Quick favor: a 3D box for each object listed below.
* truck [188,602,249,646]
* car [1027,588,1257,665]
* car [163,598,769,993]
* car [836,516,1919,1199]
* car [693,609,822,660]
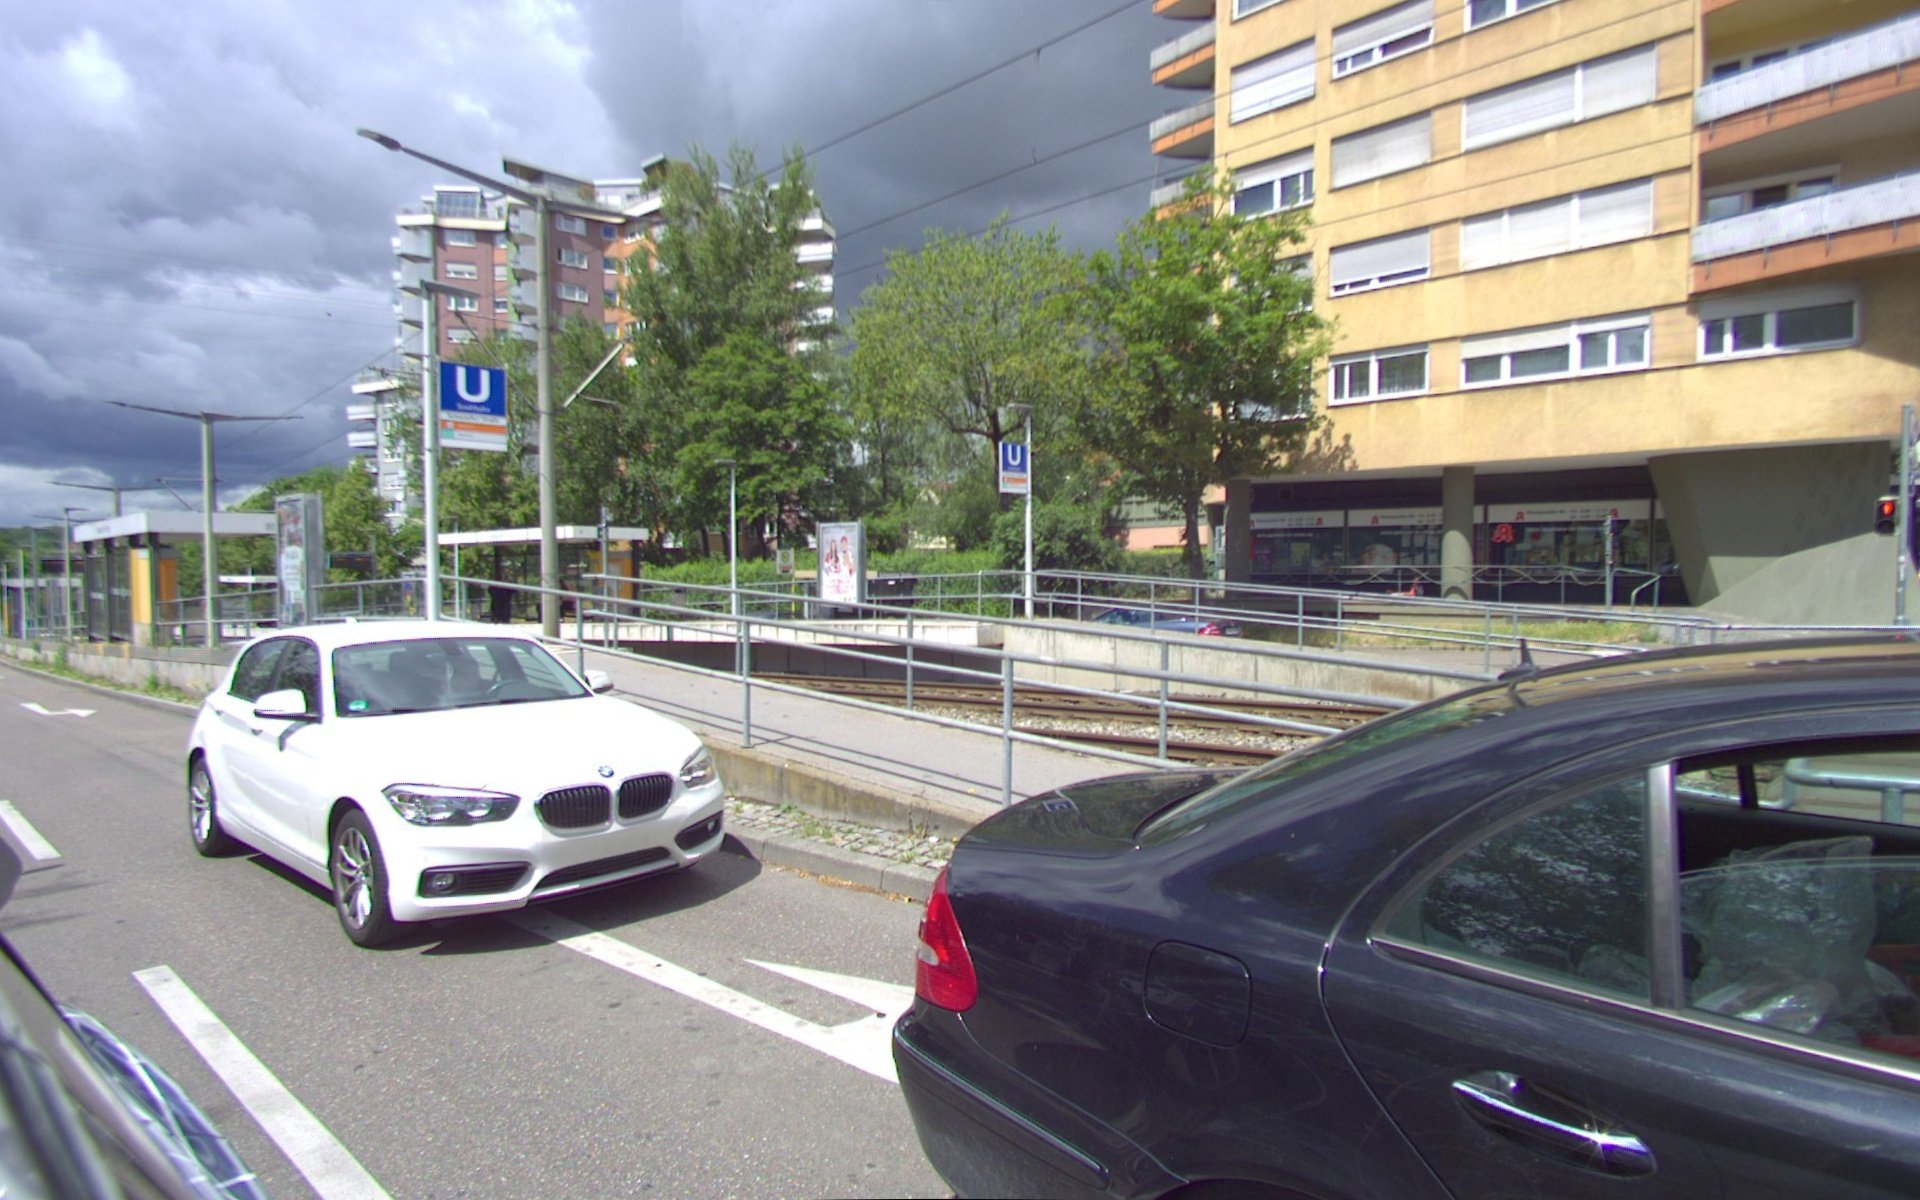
[{"bbox_3d":[-58.711,1.920,80.044,7.260,3.247,2.389,-2,-1,42],"label":"truck"},{"bbox_3d":[3.670,0.487,20.907,4.491,1.410,1.618,0,1,41],"label":"car"},{"bbox_3d":[-3.029,0.759,5.795,3.998,1.472,1.710,-1,0,41],"label":"car"},{"bbox_3d":[2.024,0.637,1.142,4.542,1.472,1.710,-1,0,41],"label":"car"},{"bbox_3d":[-6.144,1.035,30.490,4.253,1.424,1.612,-2,-1,42],"label":"car"}]
